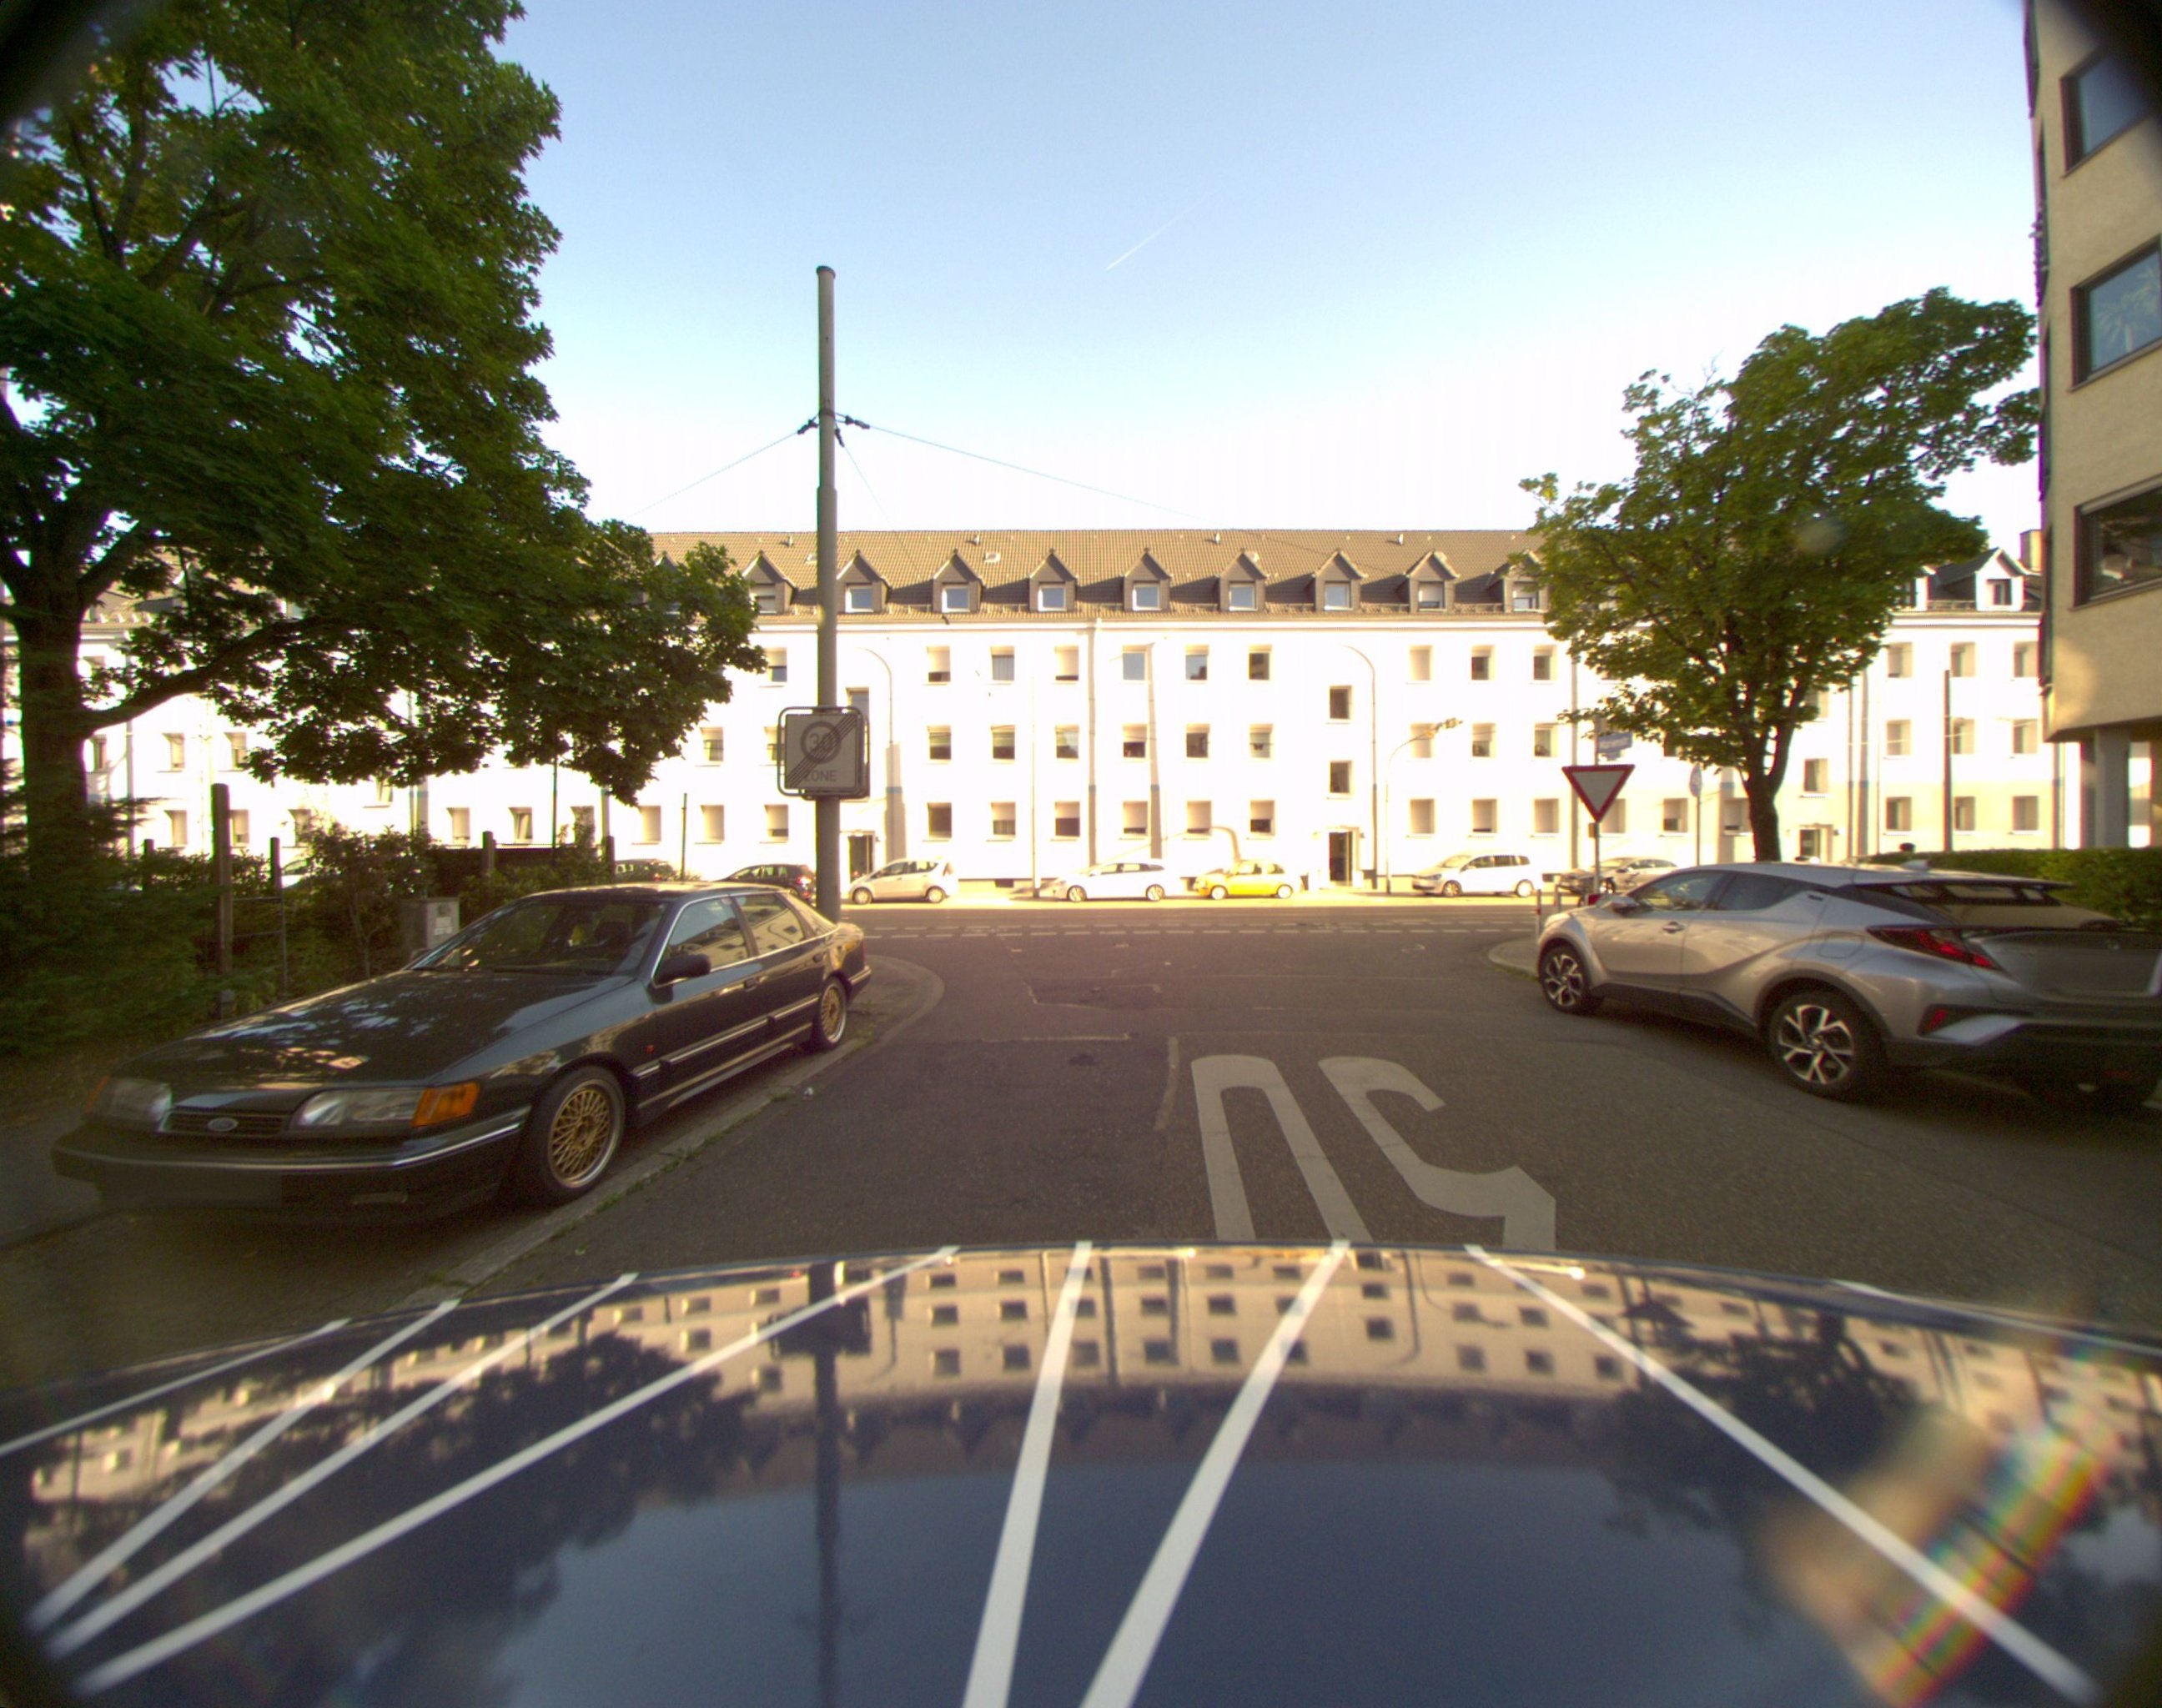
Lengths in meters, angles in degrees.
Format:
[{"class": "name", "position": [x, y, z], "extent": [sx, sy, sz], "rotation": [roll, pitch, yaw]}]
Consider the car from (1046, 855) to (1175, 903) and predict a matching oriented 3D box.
[{"class": "car", "position": [1.032, 0.870, 27.340], "extent": [4.506, 1.562, 1.684], "rotation": [0, 2, -1]}]

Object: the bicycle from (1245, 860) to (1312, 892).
[{"class": "bicycle", "position": [7.725, 0.863, 29.825], "extent": [2.326, 1.190, 1.099], "rotation": [0, 1, -2]}]

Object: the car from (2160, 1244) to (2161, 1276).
[{"class": "car", "position": [4.939, 0.953, 0.835], "extent": [1.756, 1.488, 4.137], "rotation": [2, 1, 6]}]

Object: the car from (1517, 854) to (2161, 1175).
[{"class": "car", "position": [5.610, 0.868, 6.052], "extent": [1.908, 1.650, 3.999], "rotation": [1, 1, 0]}]

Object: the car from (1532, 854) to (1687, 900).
[{"class": "car", "position": [19.278, 0.818, 27.877], "extent": [4.362, 1.546, 1.869], "rotation": [0, 2, 1]}]

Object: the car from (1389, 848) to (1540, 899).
[{"class": "car", "position": [13.950, 0.686, 27.791], "extent": [4.624, 1.657, 1.759], "rotation": [0, 4, -4]}]

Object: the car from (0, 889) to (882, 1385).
[{"class": "car", "position": [-2.958, 1.050, 4.877], "extent": [1.711, 1.380, 4.572], "rotation": [0, 1, 7]}]

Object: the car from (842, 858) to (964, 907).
[{"class": "car", "position": [-6.322, 0.993, 27.249], "extent": [3.901, 1.563, 1.759], "rotation": [0, 4, 1]}]

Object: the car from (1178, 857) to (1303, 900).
[{"class": "car", "position": [5.706, 0.865, 27.475], "extent": [4.198, 1.423, 1.518], "rotation": [-1, 2, -1]}]
